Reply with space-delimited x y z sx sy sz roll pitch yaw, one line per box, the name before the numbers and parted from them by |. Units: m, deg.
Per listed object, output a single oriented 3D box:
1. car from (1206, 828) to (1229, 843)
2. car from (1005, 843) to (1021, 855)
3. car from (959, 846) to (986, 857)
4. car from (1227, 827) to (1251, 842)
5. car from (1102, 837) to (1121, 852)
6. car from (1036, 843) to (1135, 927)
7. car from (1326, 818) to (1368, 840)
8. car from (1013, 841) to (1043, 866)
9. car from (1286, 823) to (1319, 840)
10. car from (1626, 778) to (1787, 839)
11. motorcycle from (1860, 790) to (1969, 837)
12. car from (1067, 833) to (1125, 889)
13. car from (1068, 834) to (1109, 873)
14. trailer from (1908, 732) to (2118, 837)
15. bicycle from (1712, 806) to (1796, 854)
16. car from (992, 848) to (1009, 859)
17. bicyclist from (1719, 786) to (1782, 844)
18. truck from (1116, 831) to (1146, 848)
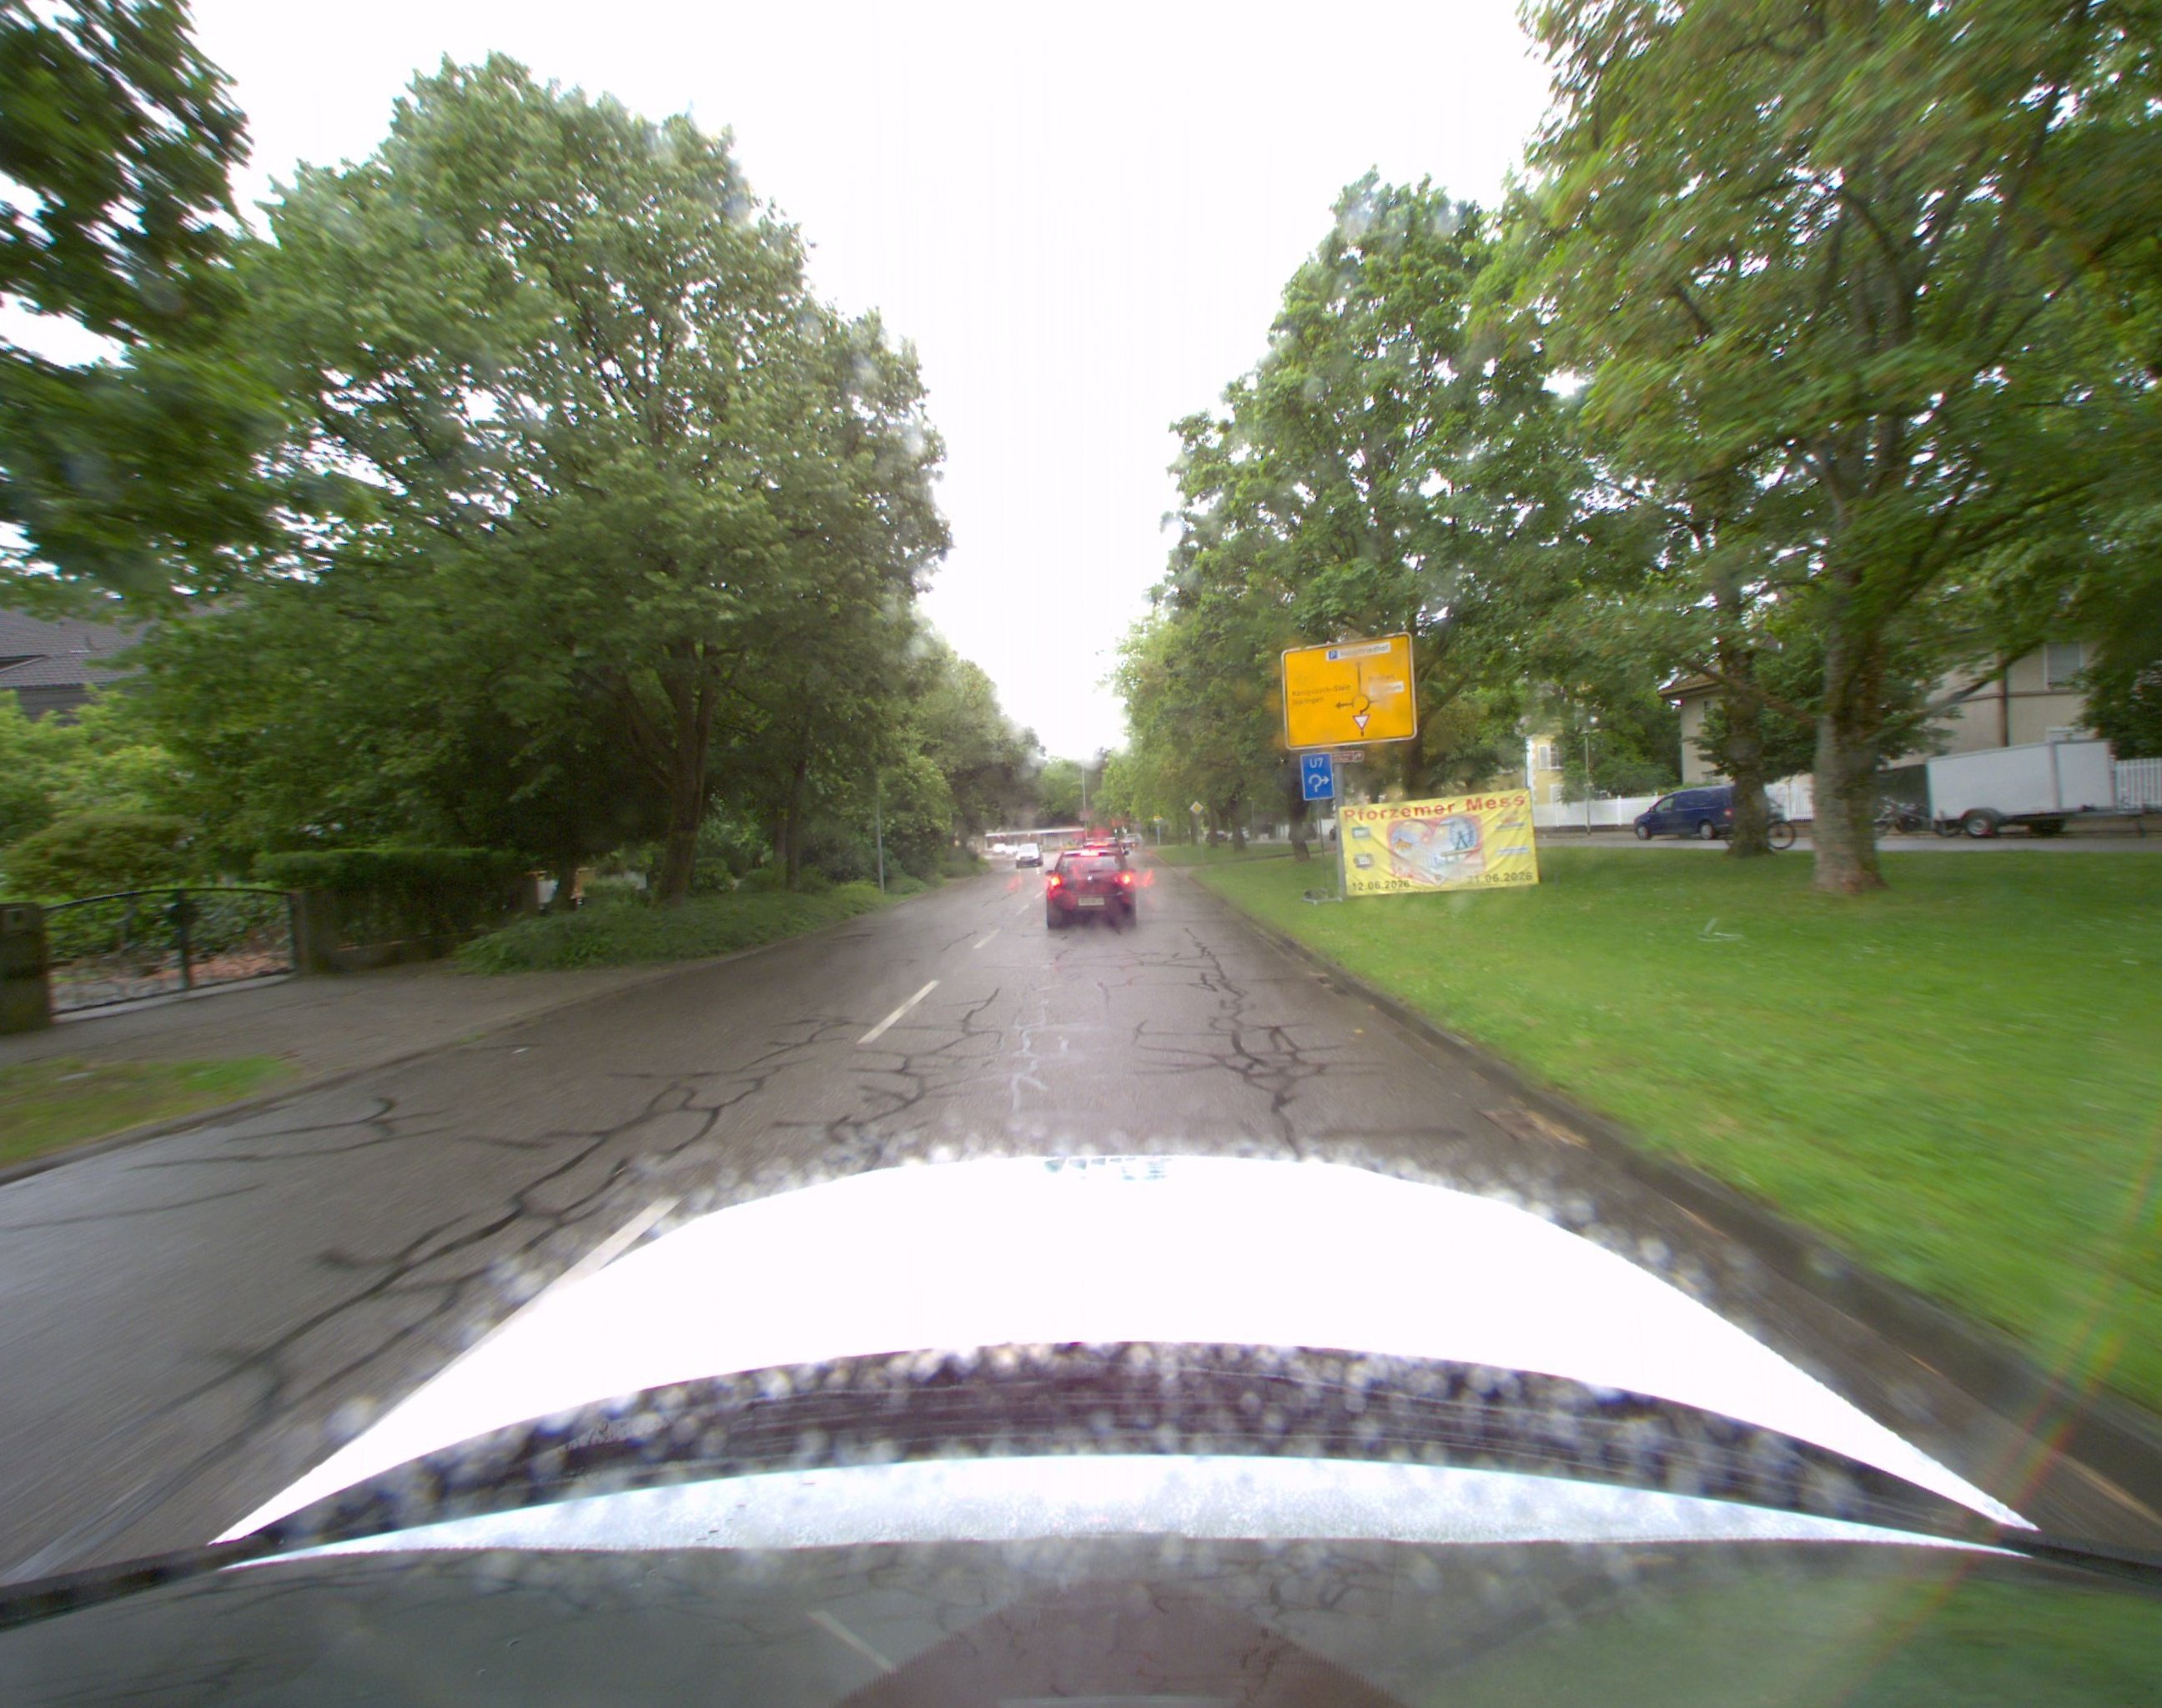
car | 14.604 -1.976 87.140 1.797 1.385 4.002 -5 1 2
car | -8.951 -0.646 107.604 1.609 1.427 3.994 -4 2 -11
car | -17.104 -0.418 128.175 3.927 1.393 1.815 -5 1 31
car | 16.912 -2.073 87.416 1.797 1.406 4.002 -5 1 2
car | 3.334 -1.035 89.491 1.701 1.513 3.671 -4 1 -1
car | 0.155 0.554 16.884 1.792 1.515 3.756 -1 1 2
car | 20.440 -1.908 62.817 1.796 1.529 4.112 -4 2 -1
car | -3.748 -0.042 58.268 1.758 1.614 4.142 -4 1 1
car | 20.205 -2.073 74.582 1.796 1.411 4.112 -4 2 -1
car | 21.722 -1.530 28.558 1.936 1.809 4.647 -5 2 -1
motorcycle | 21.738 -1.042 21.280 1.869 1.092 0.662 -3 2 21
car | 0.597 0.217 29.401 1.848 1.784 4.003 -3 1 2
car | 0.418 -0.041 41.150 1.848 1.784 4.002 -3 0 2
trailer | 21.882 -1.556 19.270 1.433 2.154 2.947 -4 1 -3
bicycle | 17.036 -0.582 20.678 0.593 1.138 1.864 -3 0 2
car | -11.797 -0.086 118.902 1.775 1.618 3.785 -3 1 -15
bicyclist | 17.025 -0.975 20.739 0.742 1.390 1.000 -3 0 2
truck | 6.494 -1.859 104.455 2.396 2.004 5.177 -3 1 20
